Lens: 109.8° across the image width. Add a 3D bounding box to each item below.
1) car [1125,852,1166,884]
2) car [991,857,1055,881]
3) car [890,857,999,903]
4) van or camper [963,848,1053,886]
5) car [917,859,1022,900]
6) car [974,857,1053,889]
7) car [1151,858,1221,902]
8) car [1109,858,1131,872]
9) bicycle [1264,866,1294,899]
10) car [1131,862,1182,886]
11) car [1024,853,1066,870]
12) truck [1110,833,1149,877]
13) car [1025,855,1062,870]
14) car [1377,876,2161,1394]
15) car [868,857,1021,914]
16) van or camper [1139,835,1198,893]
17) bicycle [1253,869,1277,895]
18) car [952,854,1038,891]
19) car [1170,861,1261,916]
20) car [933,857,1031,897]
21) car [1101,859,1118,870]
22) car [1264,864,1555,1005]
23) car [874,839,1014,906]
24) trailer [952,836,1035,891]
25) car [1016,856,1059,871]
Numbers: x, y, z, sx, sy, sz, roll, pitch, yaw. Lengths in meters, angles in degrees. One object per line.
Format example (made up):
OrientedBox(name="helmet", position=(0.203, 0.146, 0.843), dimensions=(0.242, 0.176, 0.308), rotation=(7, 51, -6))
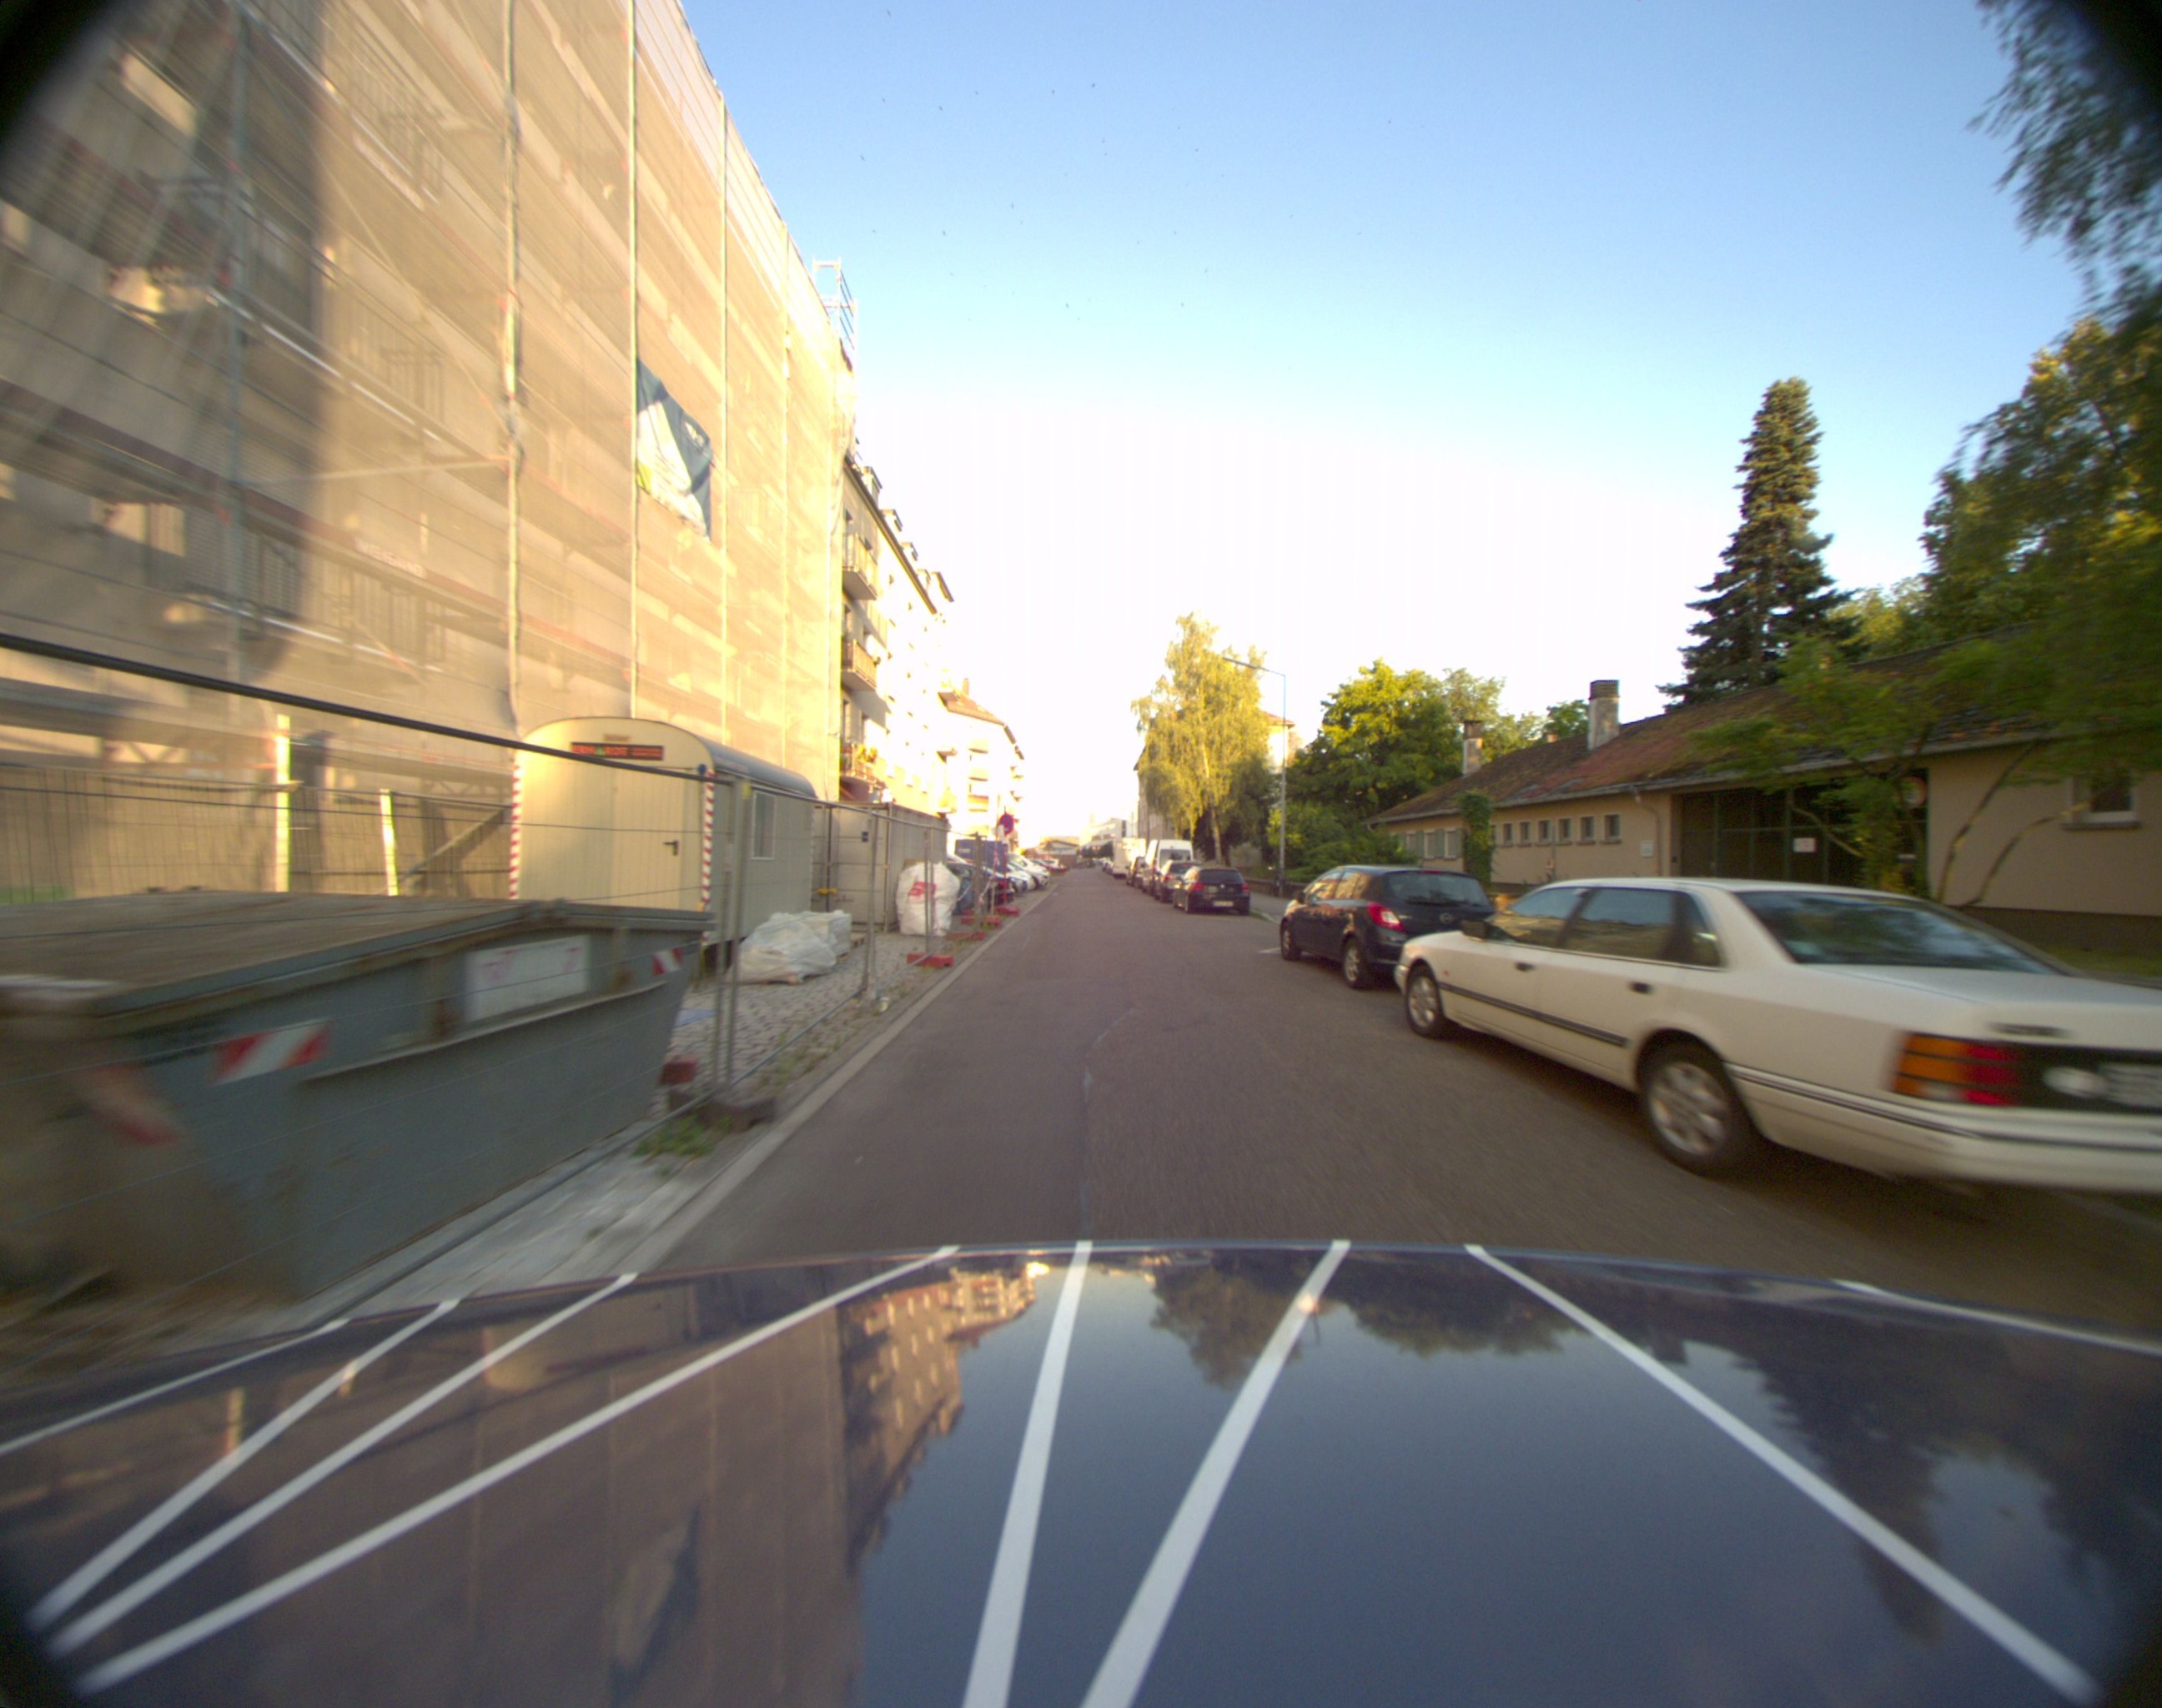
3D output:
OrientedBox(name="car", position=(3.790, 0.821, 45.240), dimensions=(1.915, 1.777, 4.949), rotation=(1, 0, -1))
OrientedBox(name="car", position=(-3.731, 0.965, 49.412), dimensions=(4.113, 1.576, 1.854), rotation=(0, 0, -3))
OrientedBox(name="car", position=(-4.888, 0.920, 27.607), dimensions=(3.702, 1.601, 1.745), rotation=(0, 0, -2))
OrientedBox(name="van or camper", position=(-4.004, 0.715, 42.452), dimensions=(4.846, 2.084, 2.040), rotation=(0, 0, -1))
OrientedBox(name="car", position=(-4.359, 0.978, 30.155), dimensions=(3.975, 1.562, 1.788), rotation=(0, 0, -3))
OrientedBox(name="car", position=(-3.490, 0.971, 39.721), dimensions=(3.998, 1.630, 1.999), rotation=(0, 1, -2))
OrientedBox(name="car", position=(3.858, 0.920, 28.703), dimensions=(1.998, 1.510, 4.789), rotation=(0, 0, 1))
OrientedBox(name="car", position=(4.008, 1.102, 79.307), dimensions=(1.999, 1.435, 4.431), rotation=(0, 0, -1))
OrientedBox(name="bicycle", position=(7.129, 0.999, 27.453), dimensions=(0.545, 1.111, 1.955), rotation=(-1, 0, -1))
OrientedBox(name="car", position=(3.925, 1.021, 40.164), dimensions=(1.999, 1.182, 4.034), rotation=(0, 0, -5))
OrientedBox(name="car", position=(-4.063, 0.839, 85.955), dimensions=(4.685, 1.988, 2.000), rotation=(0, 0, 1))
OrientedBox(name="truck", position=(3.868, 0.096, 62.636), dimensions=(2.532, 3.334, 8.017), rotation=(3, 0, 0))
OrientedBox(name="car", position=(-4.048, 0.949, 83.047), dimensions=(3.998, 1.619, 1.784), rotation=(0, 0, -2))
OrientedBox(name="car", position=(3.699, 0.964, 4.716), dimensions=(1.787, 1.437, 4.748), rotation=(3, 0, 0))
OrientedBox(name="car", position=(-3.945, 0.889, 22.463), dimensions=(4.163, 1.606, 1.872), rotation=(0, 0, 2))
OrientedBox(name="van or camper", position=(3.897, 0.434, 34.759), dimensions=(1.998, 2.442, 6.083), rotation=(0, 0, 0))
OrientedBox(name="bicycle", position=(7.187, 1.087, 29.713), dimensions=(0.544, 0.959, 1.955), rotation=(-1, 0, 2))
OrientedBox(name="car", position=(-4.158, 0.898, 37.083), dimensions=(3.997, 1.718, 1.999), rotation=(0, 1, -1))
OrientedBox(name="car", position=(3.901, 0.947, 22.728), dimensions=(1.998, 1.444, 4.288), rotation=(0, 0, 1))
OrientedBox(name="car", position=(-4.144, 0.966, 32.458), dimensions=(3.998, 1.628, 1.903), rotation=(0, 0, -3))
OrientedBox(name="car", position=(3.985, 1.432, 106.668), dimensions=(1.999, 1.481, 4.431), rotation=(0, 0, -1))
OrientedBox(name="car", position=(4.009, 0.880, 10.127), dimensions=(1.999, 1.444, 3.999), rotation=(0, 0, -3))
OrientedBox(name="car", position=(-4.448, 0.619, 25.167), dimensions=(4.277, 1.968, 1.821), rotation=(3, -1, -3))
OrientedBox(name="trailer", position=(-3.960, 0.433, 34.994), dimensions=(3.577, 2.323, 1.940), rotation=(2, 0, -3))
OrientedBox(name="car", position=(-4.461, 0.969, 77.991), dimensions=(4.311, 1.532, 1.923), rotation=(0, 0, 1))
